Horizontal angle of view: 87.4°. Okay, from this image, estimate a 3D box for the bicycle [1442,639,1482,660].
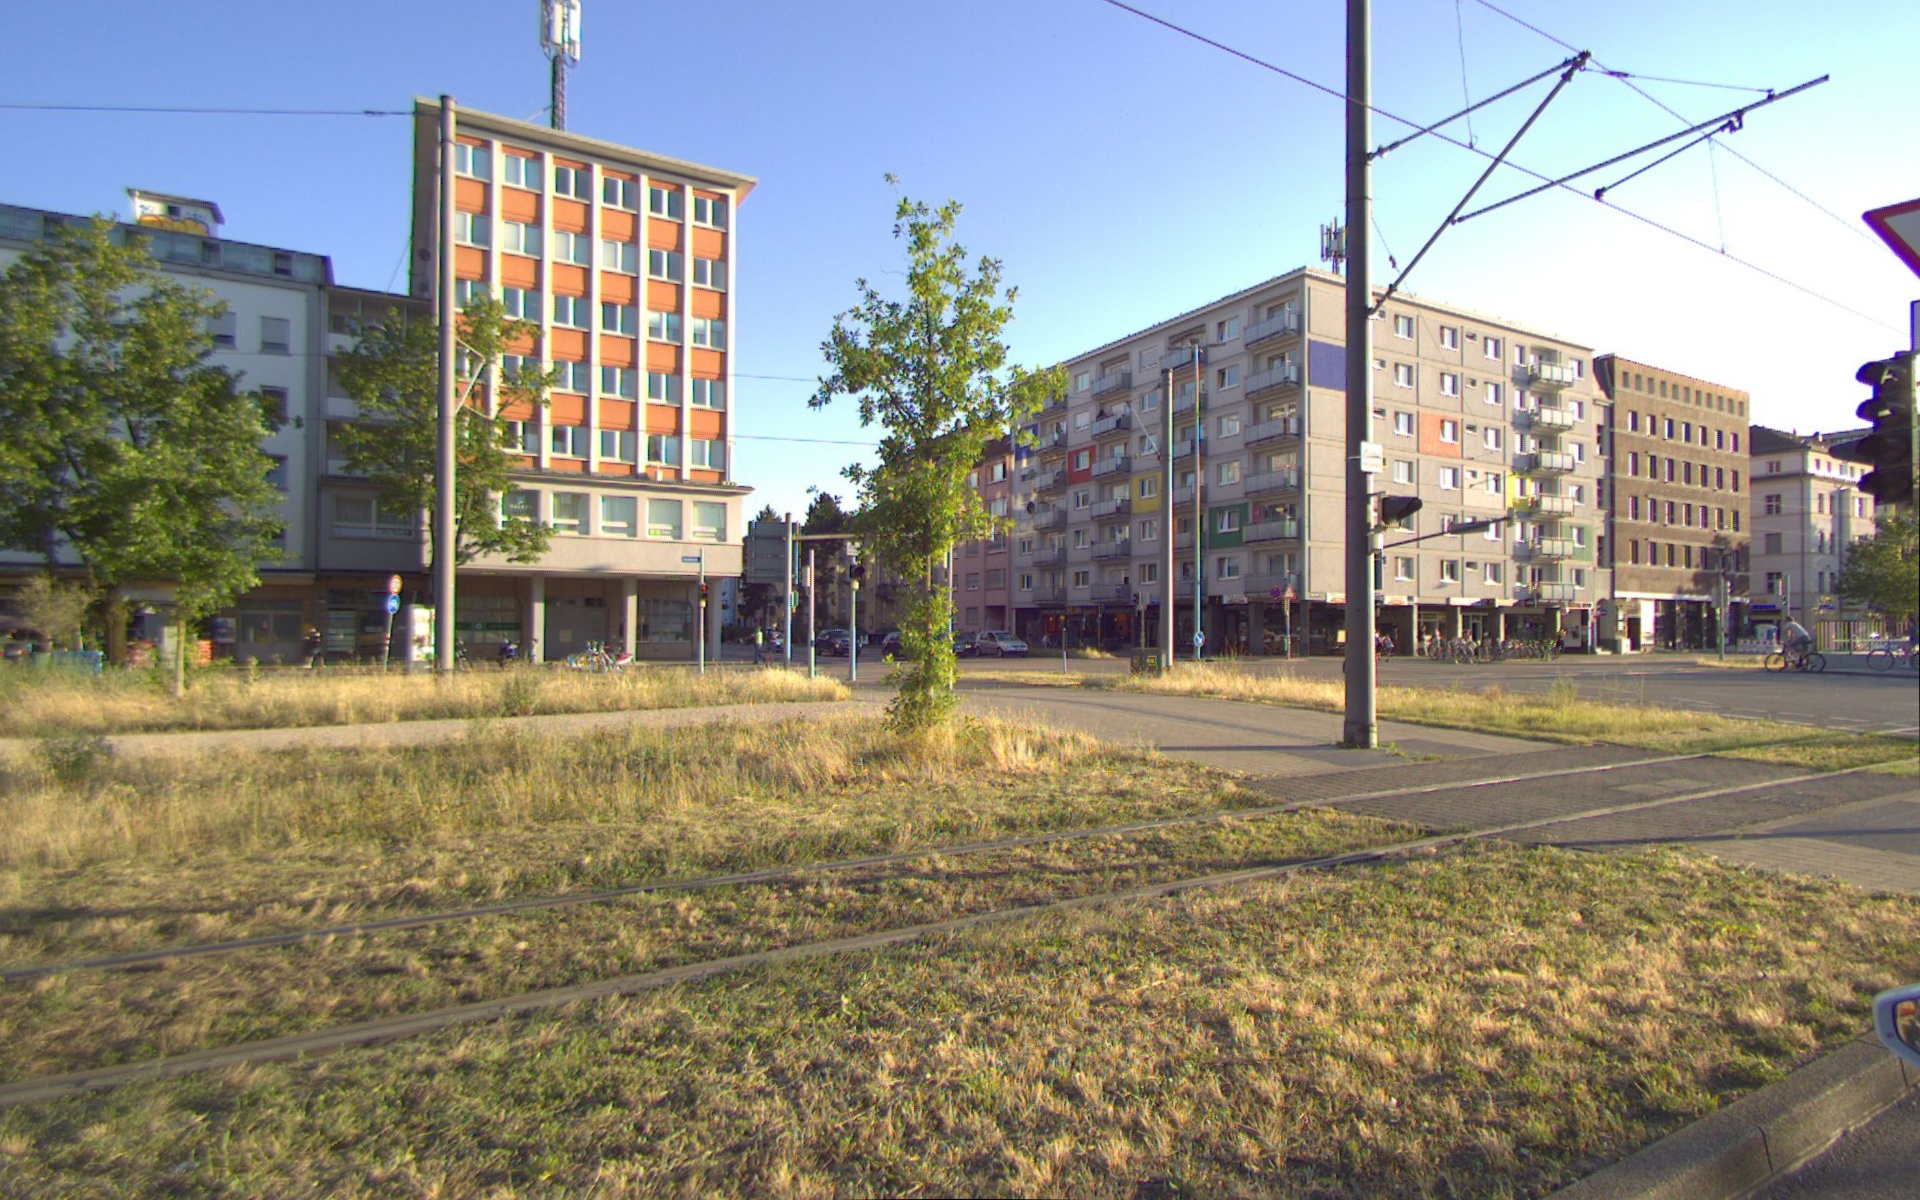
[{"bbox_3d":[23.385,2.295,46.804,1.635,0.957,0.509,0,-1,-2],"label":"bicycle"}]

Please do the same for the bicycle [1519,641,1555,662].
[{"bbox_3d":[32.599,2.882,56.800,0.626,1.139,1.720,2,-2,-28],"label":"bicycle"}]

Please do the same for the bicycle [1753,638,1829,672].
[{"bbox_3d":[27.727,1.820,33.525,0.628,1.089,1.883,1,-2,-43],"label":"bicycle"}]

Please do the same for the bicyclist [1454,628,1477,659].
[{"bbox_3d":[23.555,2.028,46.814,0.841,1.445,0.501,0,-1,-2],"label":"bicyclist"}]

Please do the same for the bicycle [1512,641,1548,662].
[{"bbox_3d":[32.040,2.883,56.514,0.561,1.134,1.753,1,-1,-29],"label":"bicycle"}]

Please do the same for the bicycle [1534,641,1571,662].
[{"bbox_3d":[33.880,2.940,57.431,0.739,1.194,1.684,1,-1,-28],"label":"bicycle"}]

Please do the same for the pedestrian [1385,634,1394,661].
[{"bbox_3d":[22.060,2.430,51.612,0.376,1.401,0.394,0,-1,32],"label":"pedestrian"}]

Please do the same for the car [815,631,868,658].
[{"bbox_3d":[-7.266,2.670,61.373,1.975,1.551,3.971,1,-1,-28],"label":"car"}]

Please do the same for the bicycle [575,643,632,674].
[{"bbox_3d":[-13.277,2.169,37.431,1.972,1.089,0.465,1,-1,-31],"label":"bicycle"}]

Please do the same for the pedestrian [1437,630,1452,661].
[{"bbox_3d":[26.845,2.496,55.612,0.542,1.706,0.574,1,-2,-41],"label":"pedestrian"}]

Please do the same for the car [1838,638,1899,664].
[{"bbox_3d":[60.688,3.391,67.111,3.948,1.639,1.684,1,-3,-27],"label":"car"}]

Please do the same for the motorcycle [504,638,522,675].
[{"bbox_3d":[-16.997,2.130,38.178,0.538,1.335,1.823,1,-1,-27],"label":"motorcycle"}]

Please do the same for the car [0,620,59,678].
[{"bbox_3d":[-30.098,1.462,30.231,3.927,1.706,1.997,1,-1,-9],"label":"car"}]

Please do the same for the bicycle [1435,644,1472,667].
[{"bbox_3d":[26.746,3.005,54.431,0.601,1.157,1.768,1,-2,-29],"label":"bicycle"}]

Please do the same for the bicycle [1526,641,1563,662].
[{"bbox_3d":[33.213,2.930,57.081,0.696,1.168,1.684,1,-1,-28],"label":"bicycle"}]

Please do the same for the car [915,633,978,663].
[{"bbox_3d":[-0.806,2.614,55.204,1.974,1.505,3.974,1,-1,-26],"label":"car"}]

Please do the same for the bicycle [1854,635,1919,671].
[{"bbox_3d":[30.746,1.731,32.873,0.534,1.098,2.147,2,-1,-38],"label":"bicycle"}]

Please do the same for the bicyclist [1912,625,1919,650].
[{"bbox_3d":[77.802,3.063,81.349,0.912,2.040,0.794,1,-1,-28],"label":"bicyclist"}]

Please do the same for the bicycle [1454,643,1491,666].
[{"bbox_3d":[27.621,2.934,54.126,0.592,1.154,1.749,1,-1,-29],"label":"bicycle"}]

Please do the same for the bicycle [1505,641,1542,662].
[{"bbox_3d":[31.535,2.859,56.230,0.545,1.132,1.747,1,-1,-29],"label":"bicycle"}]

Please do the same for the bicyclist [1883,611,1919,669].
[{"bbox_3d":[30.802,1.300,32.820,0.533,1.842,0.869,1,-1,-38],"label":"bicyclist"}]

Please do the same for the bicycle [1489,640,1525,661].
[{"bbox_3d":[30.741,2.822,56.495,0.598,1.151,1.763,1,-2,-29],"label":"bicycle"}]

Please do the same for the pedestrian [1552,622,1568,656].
[{"bbox_3d":[38.712,2.512,64.785,0.783,2.207,0.599,1,-1,-30],"label":"pedestrian"}]

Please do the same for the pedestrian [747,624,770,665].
[{"bbox_3d":[-9.229,2.014,45.953,0.879,1.855,0.885,1,-1,-20],"label":"pedestrian"}]

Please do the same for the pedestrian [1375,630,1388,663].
[{"bbox_3d":[21.522,2.374,51.258,0.563,1.641,0.602,0,-1,29],"label":"pedestrian"}]

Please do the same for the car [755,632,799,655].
[{"bbox_3d":[-13.157,3.081,72.040,1.975,1.551,3.971,1,-2,-28],"label":"car"}]

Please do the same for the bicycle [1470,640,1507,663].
[{"bbox_3d":[28.704,2.787,54.583,0.561,1.197,1.761,1,-1,-29],"label":"bicycle"}]

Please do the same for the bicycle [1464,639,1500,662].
[{"bbox_3d":[28.194,2.732,54.270,0.534,1.183,1.758,1,-1,-29],"label":"bicycle"}]

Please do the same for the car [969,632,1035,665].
[{"bbox_3d":[2.297,2.652,55.544,1.974,1.506,3.973,2,1,-26],"label":"car"}]

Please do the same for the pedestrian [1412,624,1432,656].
[{"bbox_3d":[27.080,2.349,58.890,0.715,1.837,0.819,1,1,-40],"label":"pedestrian"}]

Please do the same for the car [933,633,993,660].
[{"bbox_3d":[0.138,2.704,59.099,1.974,1.505,3.974,1,-2,-26],"label":"car"}]

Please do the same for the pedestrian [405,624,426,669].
[{"bbox_3d":[-21.825,1.846,40.276,0.690,1.774,0.646,1,-1,-30],"label":"pedestrian"}]

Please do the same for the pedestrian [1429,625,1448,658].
[{"bbox_3d":[27.674,2.396,58.094,0.728,1.866,0.780,1,-2,-38],"label":"pedestrian"}]

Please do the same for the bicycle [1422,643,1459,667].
[{"bbox_3d":[25.803,2.945,53.946,0.631,1.224,1.786,1,-2,-30],"label":"bicycle"}]

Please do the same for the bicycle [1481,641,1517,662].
[{"bbox_3d":[30.147,2.873,56.208,0.598,1.174,1.768,1,-2,-29],"label":"bicycle"}]

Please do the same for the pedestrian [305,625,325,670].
[{"bbox_3d":[-25.903,1.895,40.362,0.623,1.792,0.593,1,-1,-30],"label":"pedestrian"}]

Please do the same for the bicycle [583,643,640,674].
[{"bbox_3d":[-12.500,2.083,36.043,1.885,1.089,0.465,1,-1,-31],"label":"bicycle"}]

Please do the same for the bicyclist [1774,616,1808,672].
[{"bbox_3d":[27.730,1.447,33.517,0.642,1.842,0.785,1,-2,-43],"label":"bicyclist"}]

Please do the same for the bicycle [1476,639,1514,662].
[{"bbox_3d":[29.253,2.770,54.901,0.644,1.206,1.780,1,-2,-30],"label":"bicycle"}]

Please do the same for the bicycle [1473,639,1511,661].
[{"bbox_3d":[29.598,2.793,55.906,0.632,1.176,1.823,1,-2,-29],"label":"bicycle"}]

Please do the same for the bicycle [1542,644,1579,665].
[{"bbox_3d":[34.542,3.135,57.810,0.739,1.185,1.684,1,-1,-28],"label":"bicycle"}]

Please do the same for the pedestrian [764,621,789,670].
[{"bbox_3d":[-7.514,1.864,41.037,0.708,1.972,0.720,-1,-2,43],"label":"pedestrian"}]

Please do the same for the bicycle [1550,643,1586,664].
[{"bbox_3d":[35.185,3.106,58.143,0.688,1.159,1.684,1,-1,-28],"label":"bicycle"}]

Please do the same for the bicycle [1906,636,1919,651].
[{"bbox_3d":[77.582,3.496,81.244,2.382,1.217,0.809,1,-2,-28],"label":"bicycle"}]

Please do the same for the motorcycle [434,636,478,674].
[{"bbox_3d":[-17.938,1.945,35.744,1.373,1.335,0.378,1,-1,-28],"label":"motorcycle"}]

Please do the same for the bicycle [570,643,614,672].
[{"bbox_3d":[-14.108,2.186,38.535,1.543,1.089,0.392,1,-1,-31],"label":"bicycle"}]
